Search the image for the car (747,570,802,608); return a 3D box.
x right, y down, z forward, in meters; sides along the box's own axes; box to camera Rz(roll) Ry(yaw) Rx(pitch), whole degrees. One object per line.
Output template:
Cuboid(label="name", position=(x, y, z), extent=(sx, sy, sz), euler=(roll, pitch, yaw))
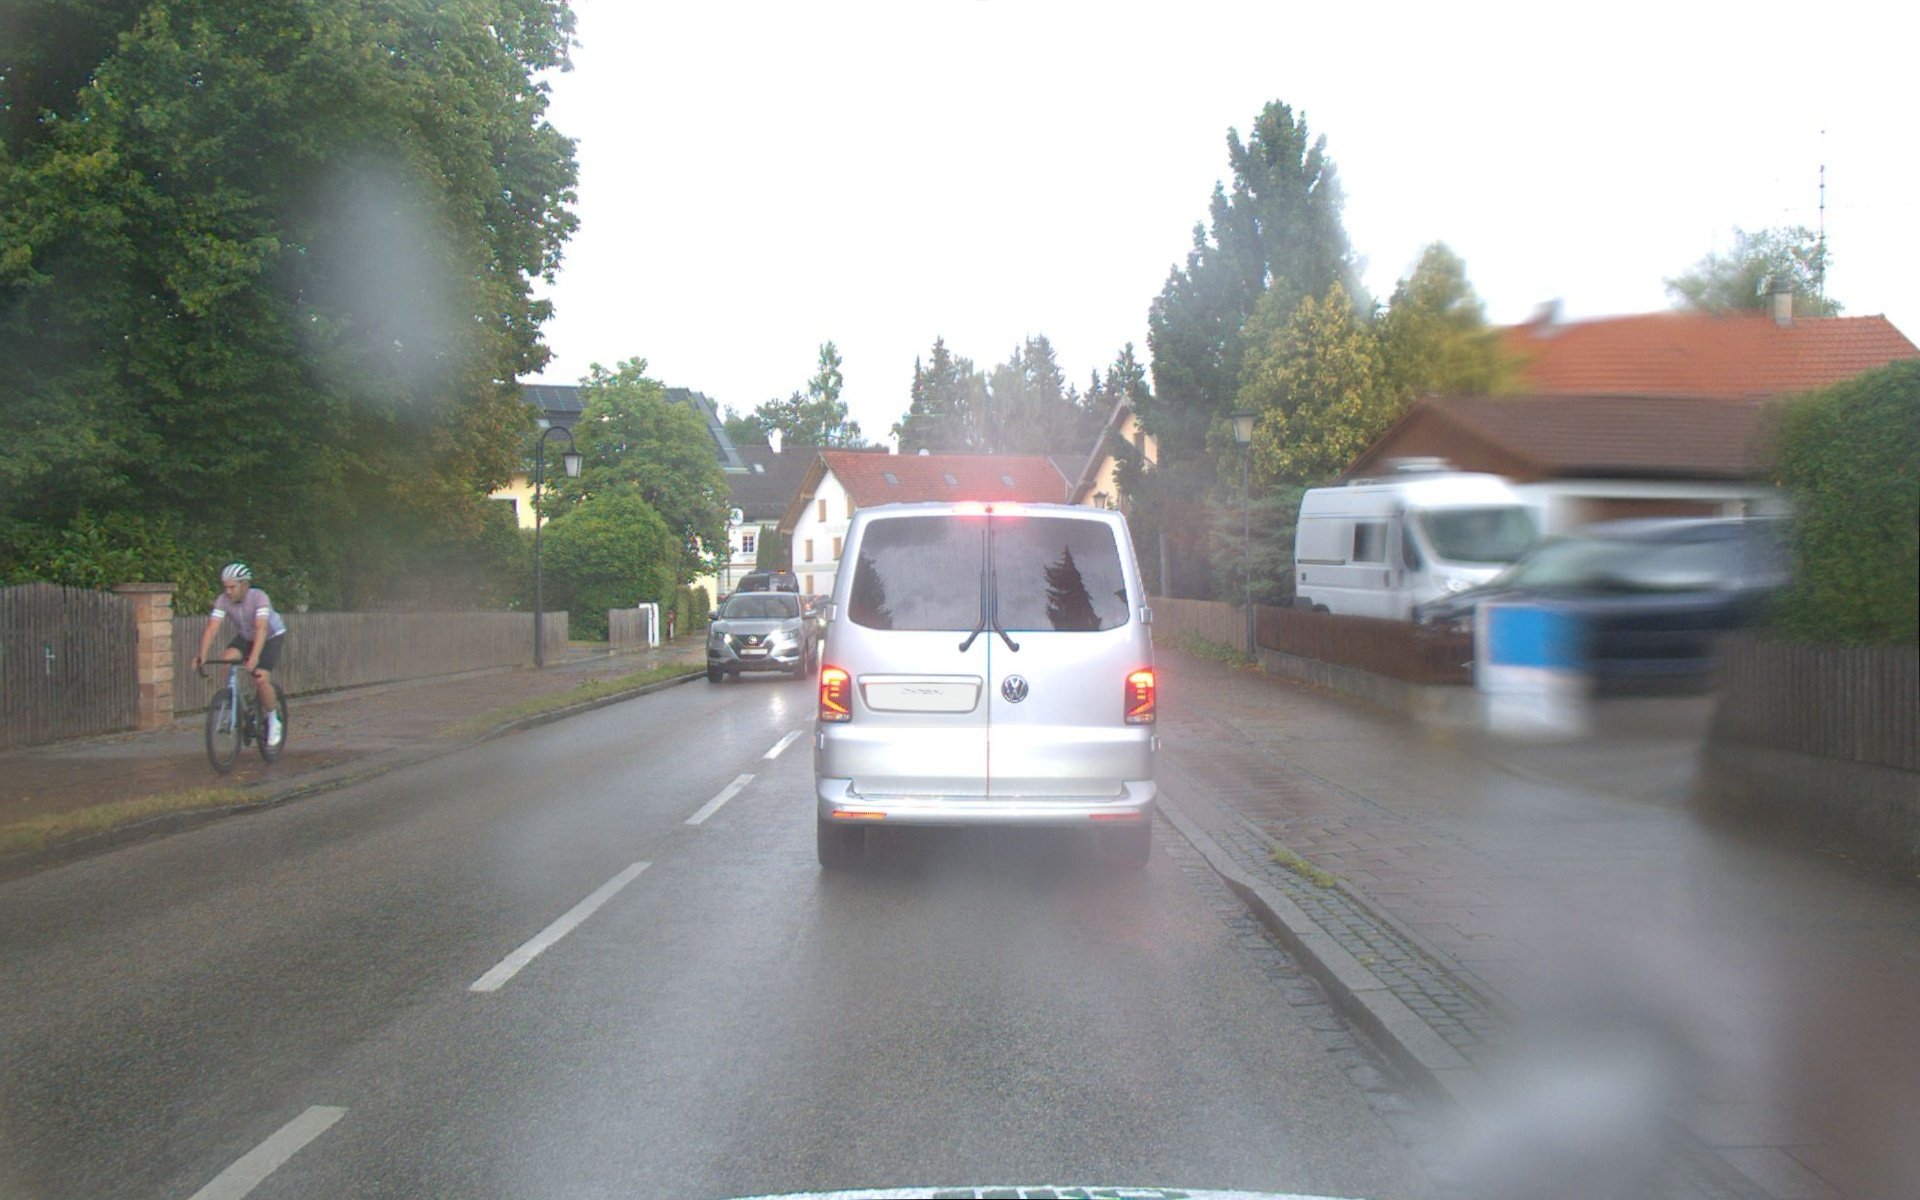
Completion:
Cuboid(label="car", position=(-10.452, -0.587, 92.909), extent=(1.968, 2.049, 3.969), euler=(2, -1, -24))

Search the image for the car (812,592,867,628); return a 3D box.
Cuboid(label="car", position=(-4.755, 0.386, 64.859), extent=(1.747, 1.333, 3.767), euler=(1, -1, -10))

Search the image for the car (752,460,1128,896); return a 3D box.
Cuboid(label="car", position=(-0.028, 0.393, 9.946), extent=(1.763, 2.049, 4.001), euler=(1, -1, 2))

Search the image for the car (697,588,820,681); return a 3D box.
Cuboid(label="car", position=(-3.668, 0.618, 30.716), extent=(1.790, 1.586, 4.176), euler=(-1, -1, -1))

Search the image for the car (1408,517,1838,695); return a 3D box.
Cuboid(label="car", position=(7.097, 0.018, 17.937), extent=(4.012, 1.782, 1.693), euler=(-1, 2, -4))

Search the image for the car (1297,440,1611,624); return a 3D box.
Cuboid(label="car", position=(6.648, -0.817, 22.936), extent=(1.959, 2.211, 4.935), euler=(1, -1, -14))

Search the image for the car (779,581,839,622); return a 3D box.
Cuboid(label="car", position=(-7.891, 0.097, 86.016), extent=(1.967, 2.049, 3.971), euler=(2, -1, -23))

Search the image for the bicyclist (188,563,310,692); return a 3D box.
Cuboid(label="bicyclist", position=(-5.960, 0.221, 13.906), extent=(0.575, 1.039, 1.060), euler=(0, 0, -1))

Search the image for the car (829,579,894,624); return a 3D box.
Cuboid(label="car", position=(-4.735, 0.080, 79.125), extent=(1.965, 2.049, 3.974), euler=(2, -1, -22))

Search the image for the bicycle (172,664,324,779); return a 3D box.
Cuboid(label="bicycle", position=(-5.954, 0.989, 13.935), extent=(0.447, 0.812, 1.977), euler=(0, 0, -1))

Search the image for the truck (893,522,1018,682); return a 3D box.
Cuboid(label="truck", position=(-0.127, 0.070, 36.132), extent=(2.425, 3.128, 6.294), euler=(1, -1, -1))

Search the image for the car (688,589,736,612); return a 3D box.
Cuboid(label="car", position=(-15.215, 0.048, 101.386), extent=(1.759, 1.333, 3.741), euler=(2, -1, -28))
